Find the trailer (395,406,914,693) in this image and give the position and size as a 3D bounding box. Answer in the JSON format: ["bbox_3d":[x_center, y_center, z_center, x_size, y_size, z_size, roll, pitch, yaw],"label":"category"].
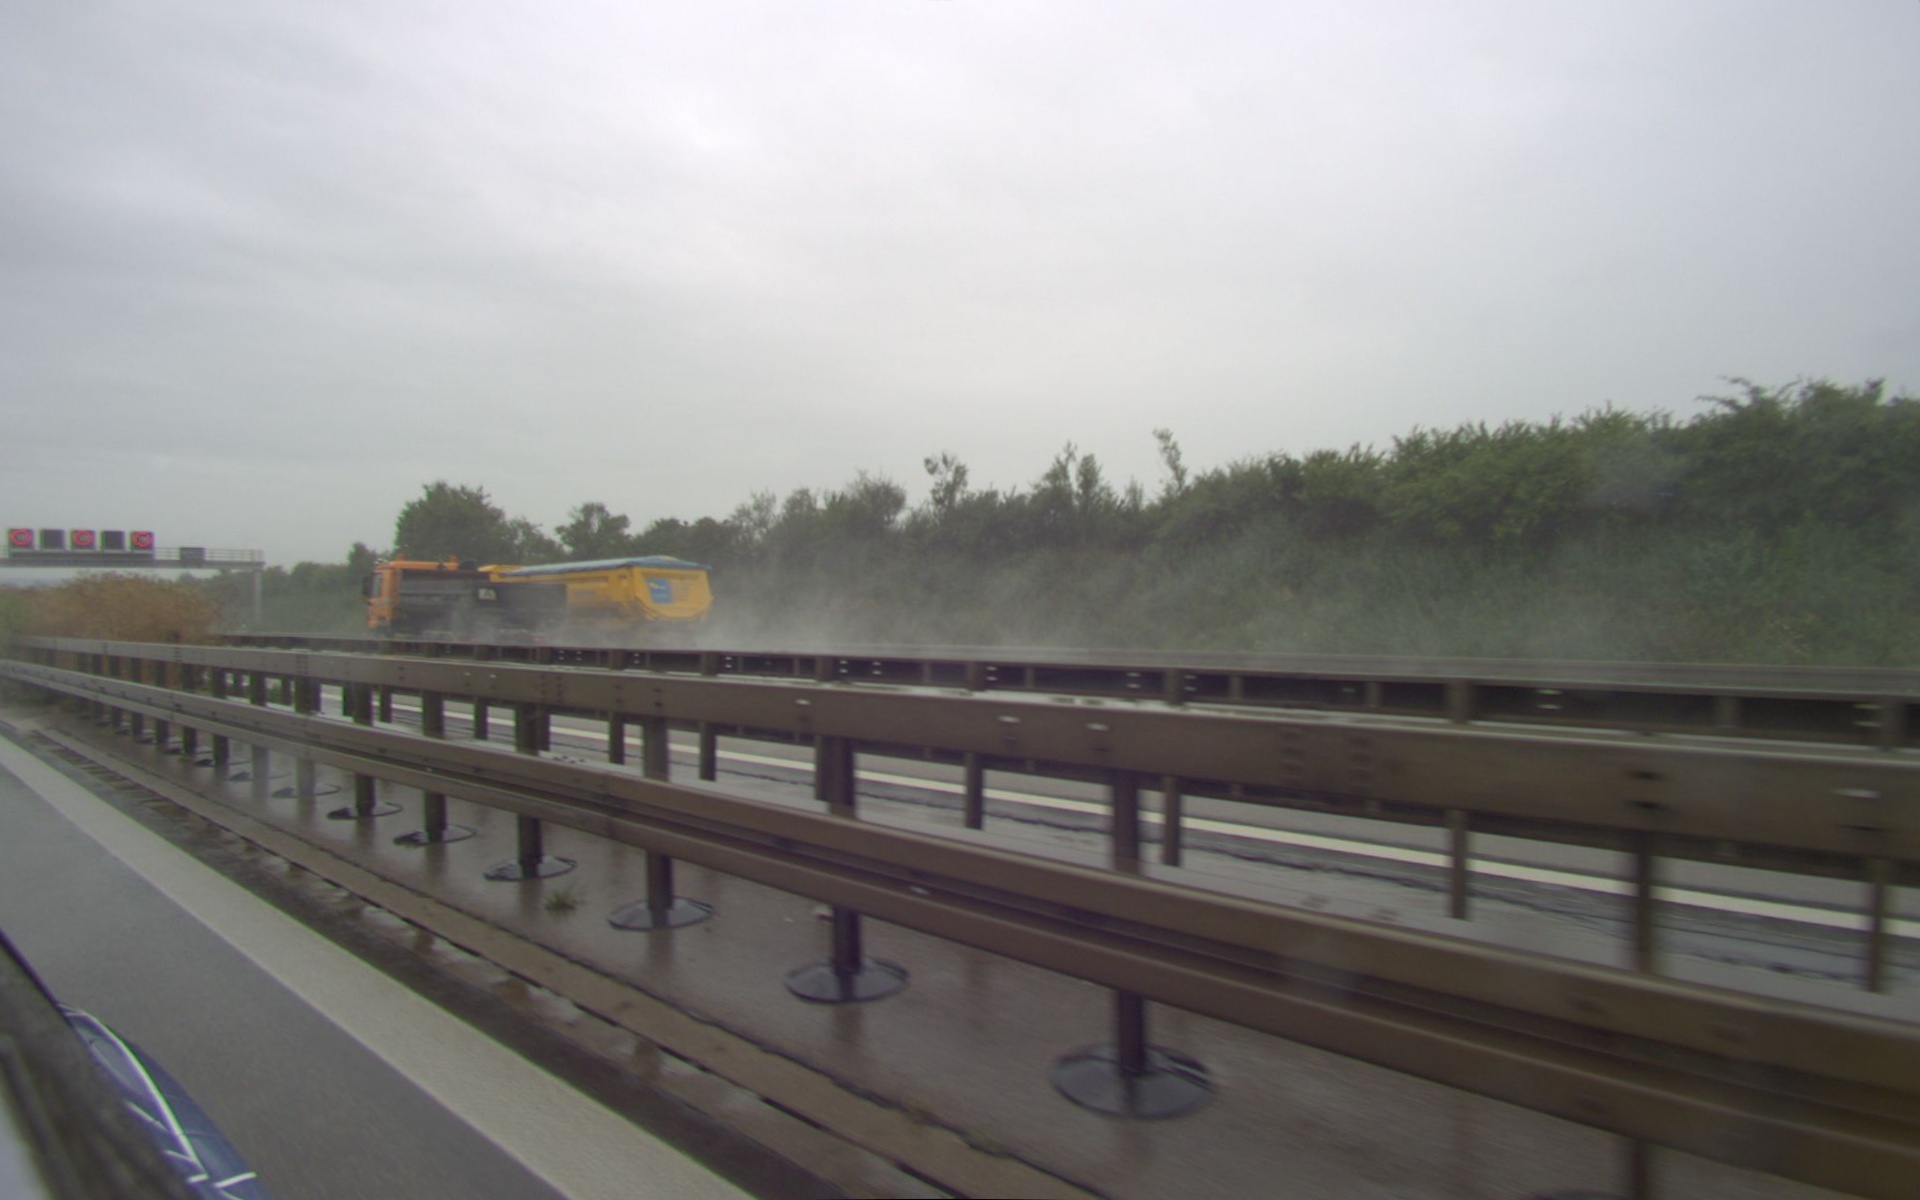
[{"bbox_3d":[-7.413,-0.610,21.510,14.674,4.334,3.493,-1,-2,42],"label":"trailer"}]

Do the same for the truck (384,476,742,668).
[{"bbox_3d":[-14.325,-0.472,34.357,18.224,5.083,3.677,-2,-2,42],"label":"truck"}]

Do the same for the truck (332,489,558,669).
[{"bbox_3d":[-14.080,-0.422,27.525,6.217,4.274,3.485,-2,-2,42],"label":"truck"}]
